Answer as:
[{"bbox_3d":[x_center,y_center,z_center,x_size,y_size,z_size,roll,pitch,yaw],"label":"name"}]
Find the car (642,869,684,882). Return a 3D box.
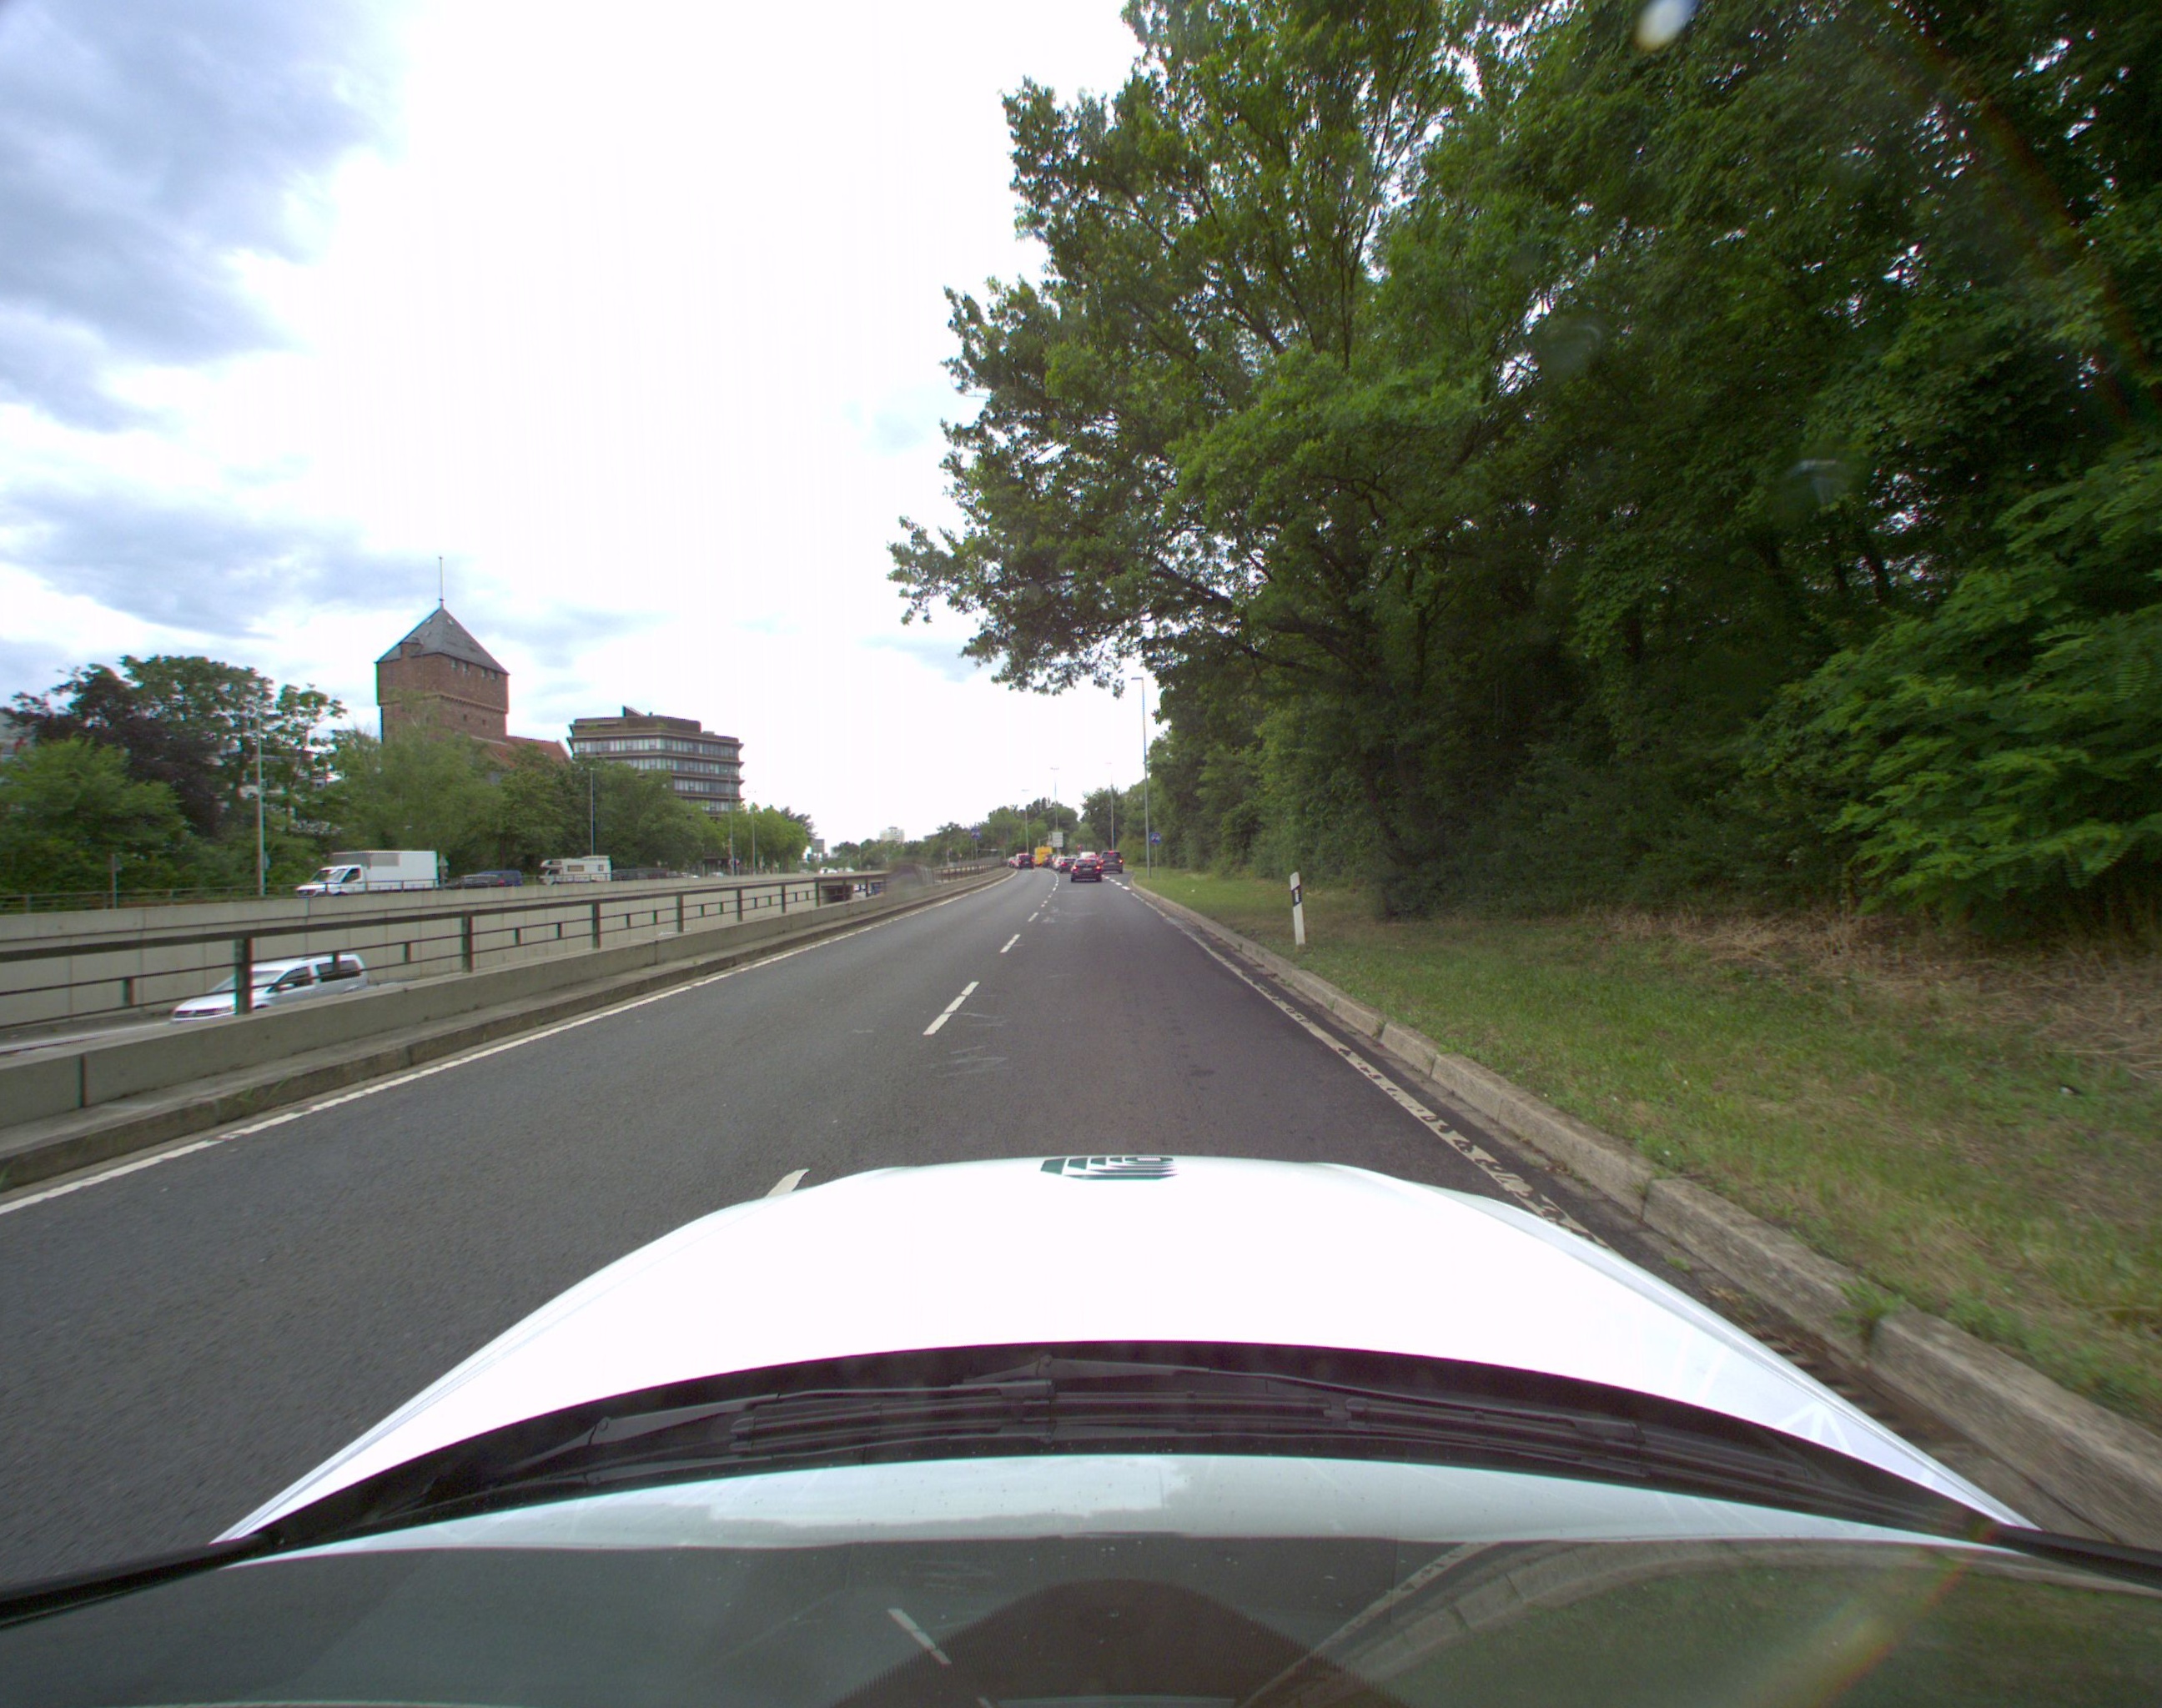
[{"bbox_3d":[-48.311,2.498,94.198,1.608,1.441,4.025,-1,-1,40],"label":"car"}]

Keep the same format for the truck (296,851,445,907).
[{"bbox_3d":[-41.219,1.408,47.584,2.006,2.987,7.107,-1,-1,5],"label":"truck"}]

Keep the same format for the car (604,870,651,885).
[{"bbox_3d":[-47.986,2.497,86.249,1.608,1.441,4.025,-1,-1,40],"label":"car"}]

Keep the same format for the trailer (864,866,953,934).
[{"bbox_3d":[-11.914,2.966,58.285,2.842,4.037,16.001,-2,-1,0],"label":"trailer"}]

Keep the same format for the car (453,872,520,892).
[{"bbox_3d":[-46.793,2.203,64.148,1.608,1.441,4.025,-1,-1,40],"label":"car"}]

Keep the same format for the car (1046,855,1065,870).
[{"bbox_3d":[-2.782,0.952,87.678,1.881,1.592,4.422,-1,-1,-4],"label":"car"}]

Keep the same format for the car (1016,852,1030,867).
[{"bbox_3d":[-8.066,0.826,112.949,1.881,1.987,4.422,-1,-1,-4],"label":"car"}]

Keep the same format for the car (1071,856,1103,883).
[{"bbox_3d":[0.303,0.883,48.759,1.743,1.426,4.459,-2,0,-1],"label":"car"}]

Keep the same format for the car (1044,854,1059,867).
[{"bbox_3d":[-4.016,0.888,109.922,1.881,1.700,4.422,-1,-1,-4],"label":"car"}]

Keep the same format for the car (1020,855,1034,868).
[{"bbox_3d":[-7.032,0.992,104.865,1.622,1.701,4.287,-1,-1,-6],"label":"car"}]

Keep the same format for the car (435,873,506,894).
[{"bbox_3d":[-45.812,2.176,61.201,1.608,1.441,4.025,-1,-1,40],"label":"car"}]

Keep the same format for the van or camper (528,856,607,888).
[{"bbox_3d":[-47.571,1.656,75.550,5.958,2.810,2.120,0,-1,-44],"label":"van or camper"}]

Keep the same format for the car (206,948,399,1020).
[{"bbox_3d":[-22.419,3.693,23.701,1.618,1.441,4.104,-3,-1,1],"label":"car"}]

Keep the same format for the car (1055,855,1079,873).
[{"bbox_3d":[-1.273,0.881,73.348,1.881,1.592,4.422,-1,-1,-4],"label":"car"}]

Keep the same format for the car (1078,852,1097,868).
[{"bbox_3d":[0.793,0.762,99.474,1.881,1.880,4.422,-1,-1,-4],"label":"car"}]

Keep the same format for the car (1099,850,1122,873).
[{"bbox_3d":[2.498,0.655,69.617,1.892,1.884,4.415,-1,-1,1],"label":"car"}]

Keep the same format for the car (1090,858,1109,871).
[{"bbox_3d":[1.986,1.086,88.340,1.879,1.356,3.997,-1,-1,-1],"label":"car"}]

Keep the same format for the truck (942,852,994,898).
[{"bbox_3d":[-11.083,2.036,81.457,2.842,4.037,15.573,-2,-1,0],"label":"truck"}]

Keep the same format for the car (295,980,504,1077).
[{"bbox_3d":[-16.287,4.122,19.759,1.649,1.529,3.899,-1,-1,3],"label":"car"}]

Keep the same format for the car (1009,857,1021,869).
[{"bbox_3d":[-9.741,1.304,120.641,1.622,1.701,4.287,-1,-1,-6],"label":"car"}]
